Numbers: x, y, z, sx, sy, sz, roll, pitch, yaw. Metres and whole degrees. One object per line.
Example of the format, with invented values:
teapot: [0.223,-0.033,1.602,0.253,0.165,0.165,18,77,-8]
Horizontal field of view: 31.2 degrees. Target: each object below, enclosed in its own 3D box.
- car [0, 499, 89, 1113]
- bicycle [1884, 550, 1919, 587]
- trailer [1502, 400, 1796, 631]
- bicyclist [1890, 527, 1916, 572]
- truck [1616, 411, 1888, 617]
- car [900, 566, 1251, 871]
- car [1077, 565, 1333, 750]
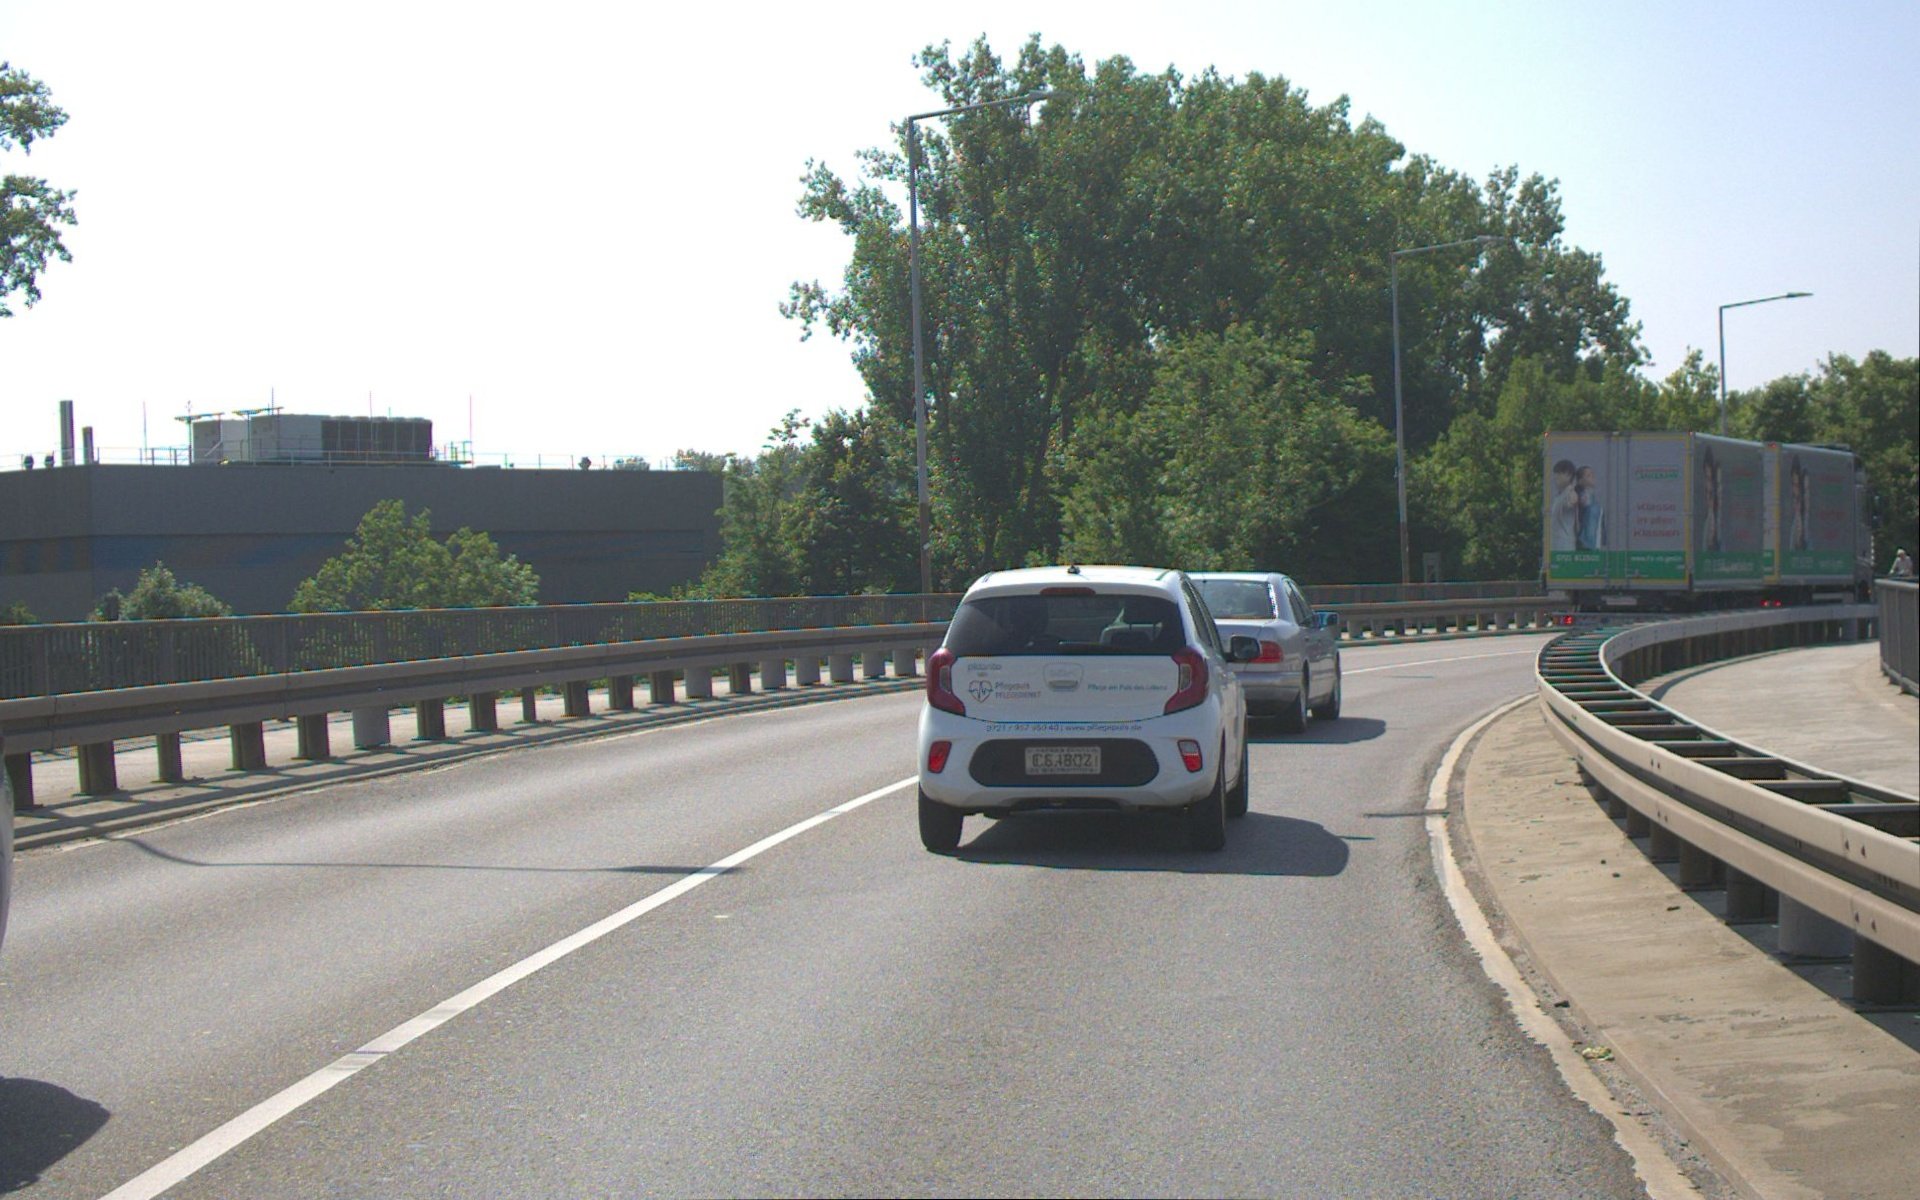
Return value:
car: [-3.650,0.546,7.909,1.858,1.676,4.472,1,0,4]
bicycle: [28.019,-0.942,102.155,0.575,1.043,1.707,-2,0,33]
trailer: [12.274,-1.530,60.639,3.229,3.745,7.814,2,2,25]
bicyclist: [28.003,-1.492,102.090,0.489,1.324,0.945,1,0,32]
truck: [15.749,-1.735,67.833,3.265,3.745,8.359,2,3,26]
car: [0.746,0.582,19.305,1.702,1.489,3.999,1,0,5]
car: [2.287,0.446,30.899,1.939,1.481,4.898,1,1,8]
